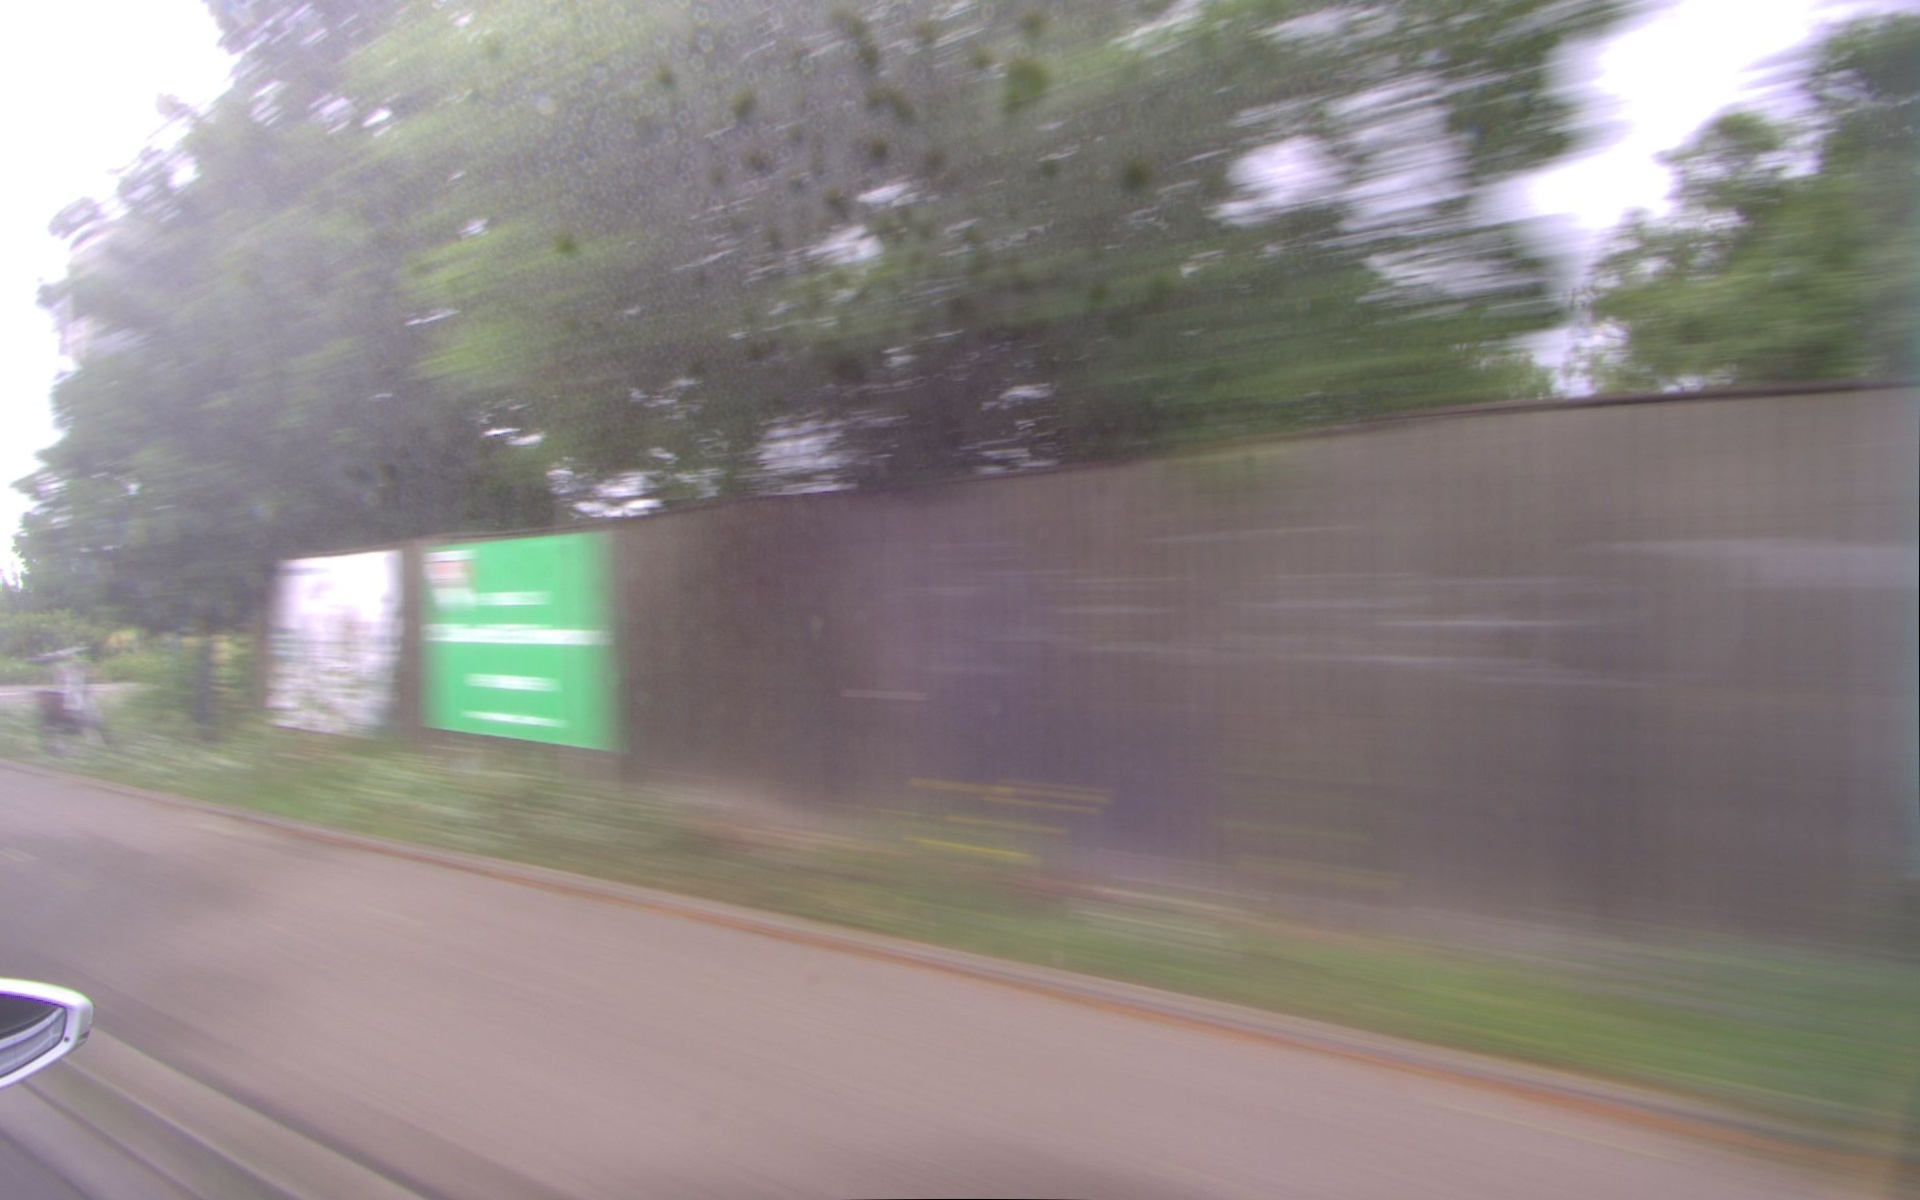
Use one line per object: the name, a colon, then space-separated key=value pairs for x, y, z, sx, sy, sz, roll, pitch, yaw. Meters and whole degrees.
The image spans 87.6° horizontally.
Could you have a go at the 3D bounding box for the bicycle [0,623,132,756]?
bicycle: x=-8.726 y=0.809 z=9.832 sx=0.788 sy=1.126 sz=1.937 roll=-1 pitch=1 yaw=-36
